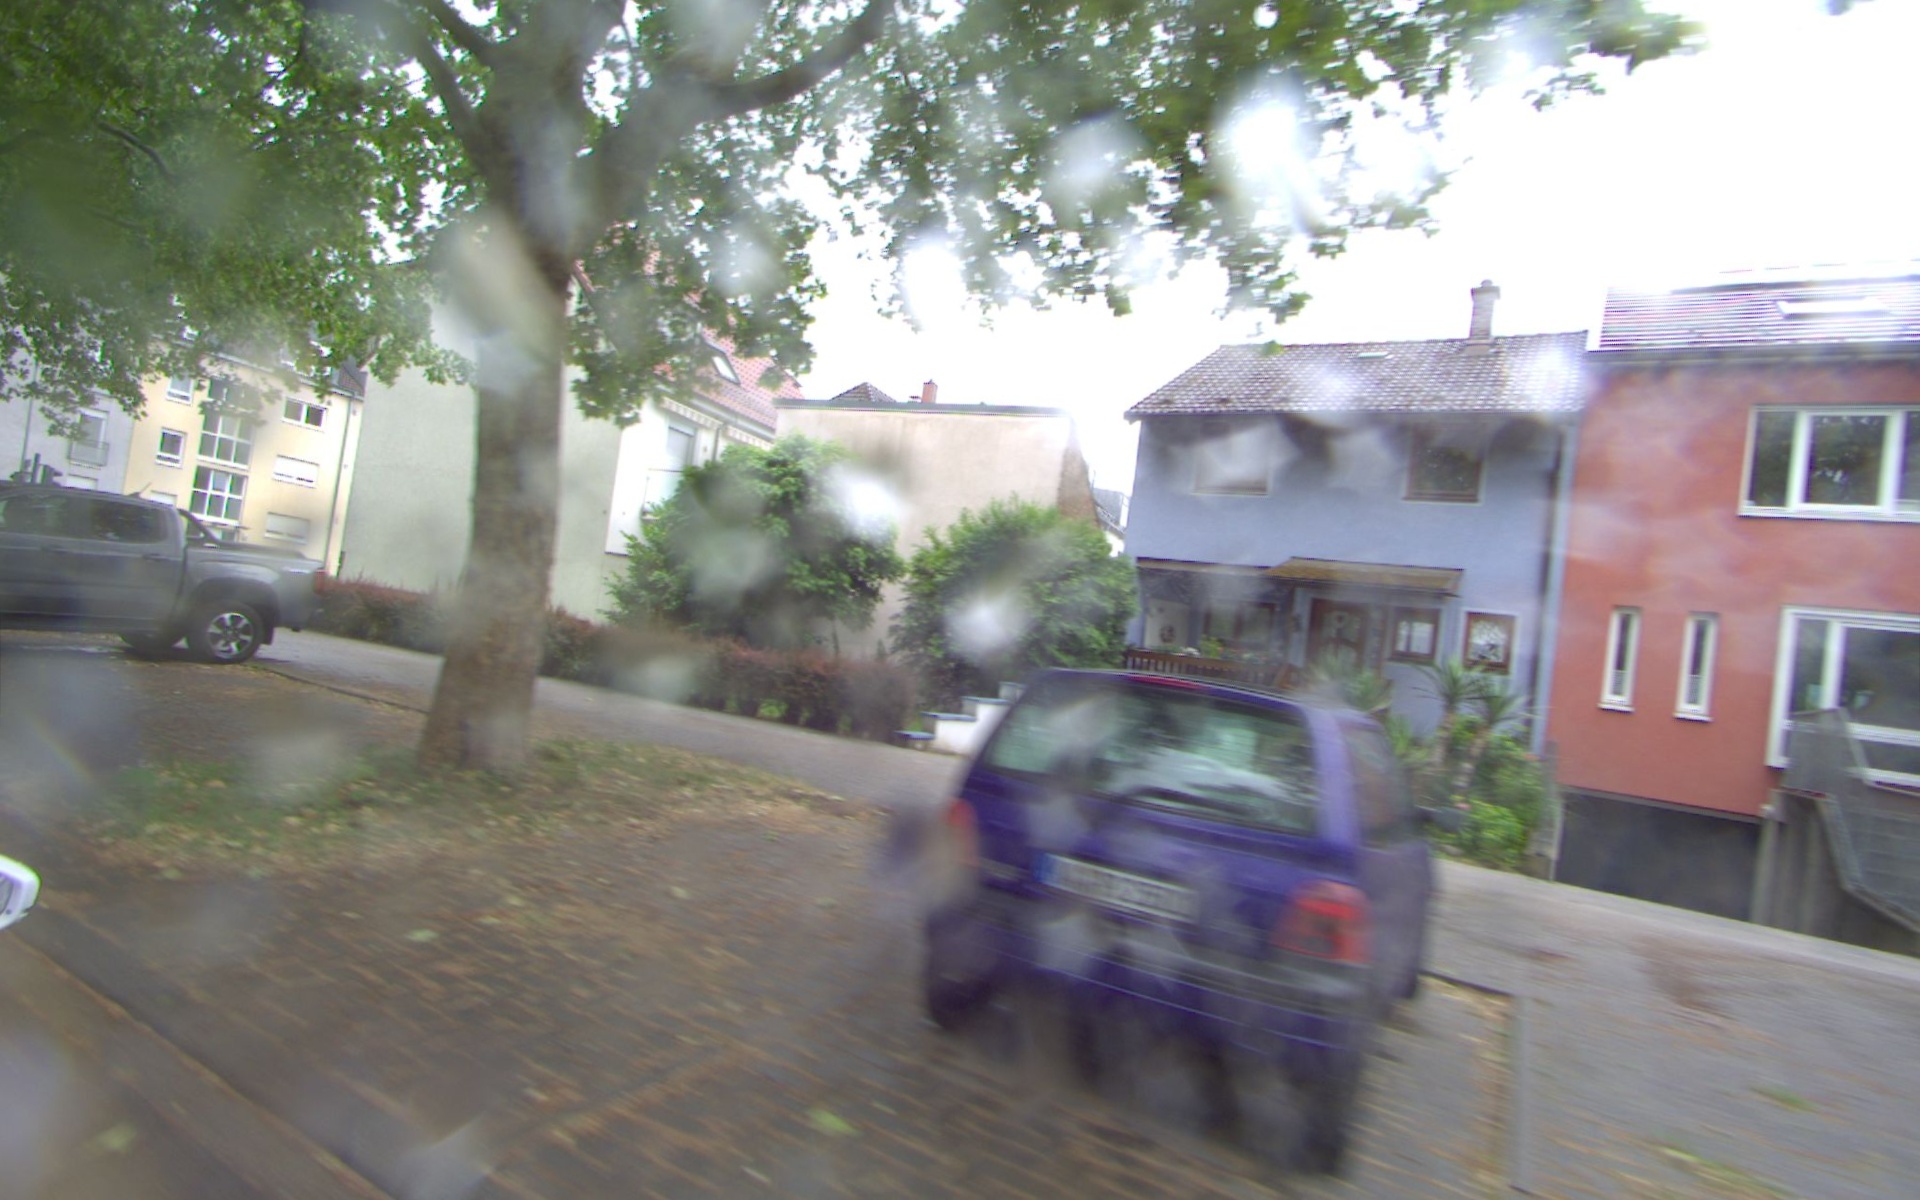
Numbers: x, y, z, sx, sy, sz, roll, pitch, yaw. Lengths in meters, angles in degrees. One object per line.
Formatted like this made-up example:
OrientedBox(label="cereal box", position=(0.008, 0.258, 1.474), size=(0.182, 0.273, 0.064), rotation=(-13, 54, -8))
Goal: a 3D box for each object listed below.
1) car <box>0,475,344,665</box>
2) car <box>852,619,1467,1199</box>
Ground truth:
OrientedBox(label="car", position=(-10.026, -0.350, 11.027), size=(1.812, 1.828, 5.354), rotation=(6, -1, 25))
OrientedBox(label="car", position=(1.226, 1.059, 4.538), size=(1.591, 1.480, 3.364), rotation=(7, -3, 30))
